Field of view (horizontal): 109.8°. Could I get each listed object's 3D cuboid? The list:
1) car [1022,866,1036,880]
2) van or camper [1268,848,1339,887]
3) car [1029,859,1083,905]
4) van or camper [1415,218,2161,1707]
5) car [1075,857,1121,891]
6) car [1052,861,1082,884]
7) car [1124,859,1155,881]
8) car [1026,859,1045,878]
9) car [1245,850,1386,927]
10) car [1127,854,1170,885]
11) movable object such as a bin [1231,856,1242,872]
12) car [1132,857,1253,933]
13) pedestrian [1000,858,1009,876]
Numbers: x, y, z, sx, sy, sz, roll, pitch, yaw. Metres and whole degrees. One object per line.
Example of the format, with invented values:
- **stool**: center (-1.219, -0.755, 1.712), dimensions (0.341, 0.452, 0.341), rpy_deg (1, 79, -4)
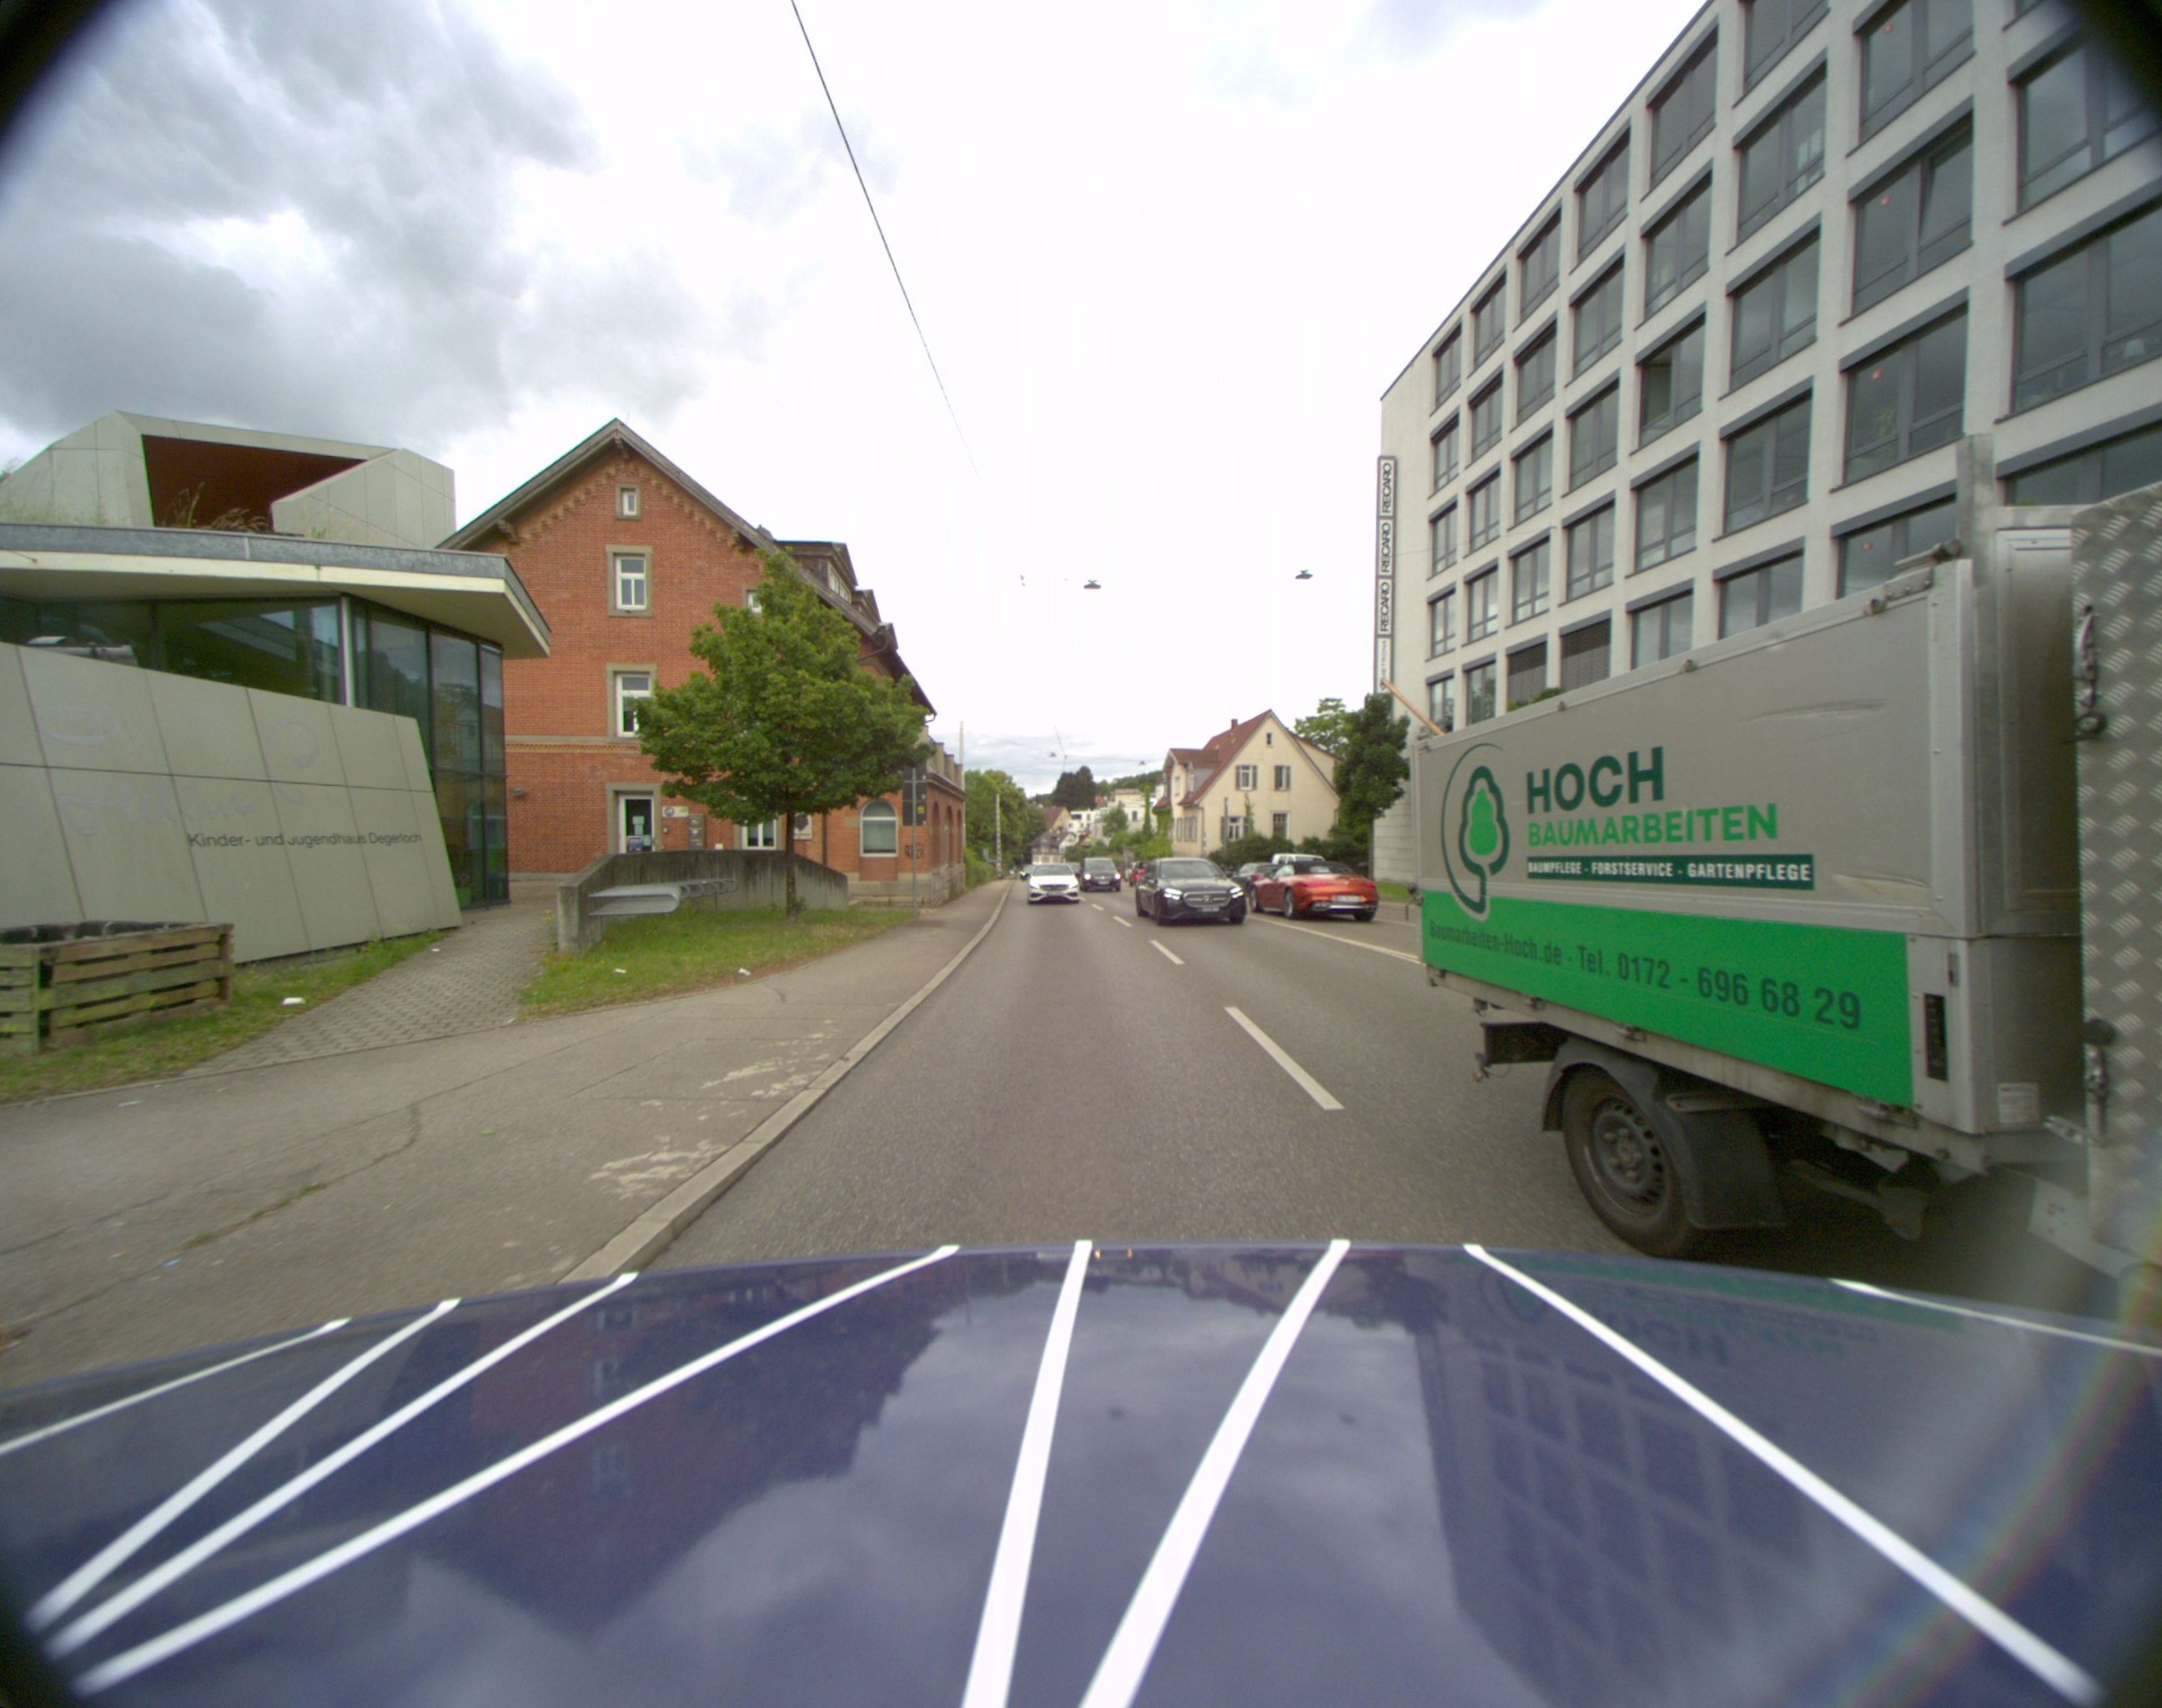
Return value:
- **car**: center (-6.775, 2.456, 99.370), dimensions (1.713, 1.680, 3.790), rpy_deg (0, 1, -6)
- **van or camper**: center (11.575, 0.707, 39.887), dimensions (2.066, 1.956, 4.872), rpy_deg (0, -1, -4)
- **car**: center (-0.990, 0.979, 27.733), dimensions (1.810, 1.521, 3.999), rpy_deg (0, -1, -4)
- **van or camper**: center (2.925, 0.289, 0.961), dimensions (2.349, 2.647, 5.963), rpy_deg (-1, 1, 0)
- **car**: center (0.762, 0.959, 37.190), dimensions (1.879, 1.521, 3.999), rpy_deg (-1, -1, -4)
- **car**: center (-1.039, 1.251, 52.852), dimensions (1.879, 1.521, 3.999), rpy_deg (-1, -1, -4)
- **car**: center (4.997, 1.359, 65.457), dimensions (1.875, 1.778, 4.652), rpy_deg (2, 0, -4)
- **car**: center (-4.567, 1.433, 75.569), dimensions (1.713, 1.680, 3.790), rpy_deg (0, 1, -6)
- **car**: center (5.469, 0.752, 18.342), dimensions (1.775, 1.561, 4.283), rpy_deg (2, 0, -4)
- **car**: center (3.952, 0.912, 45.254), dimensions (1.875, 1.692, 4.428), rpy_deg (2, 0, -4)
- **movable object such as a bin**: center (11.427, 0.736, 55.866), dimensions (0.578, 1.182, 0.604), rpy_deg (-1, 0, -10)
- **car**: center (2.429, 0.862, 17.700), dimensions (1.879, 1.521, 4.334), rpy_deg (-1, -1, -4)
- **pedestrian**: center (-7.951, 1.380, 78.910), dimensions (0.814, 1.873, 0.948), rpy_deg (1, -1, 0)
